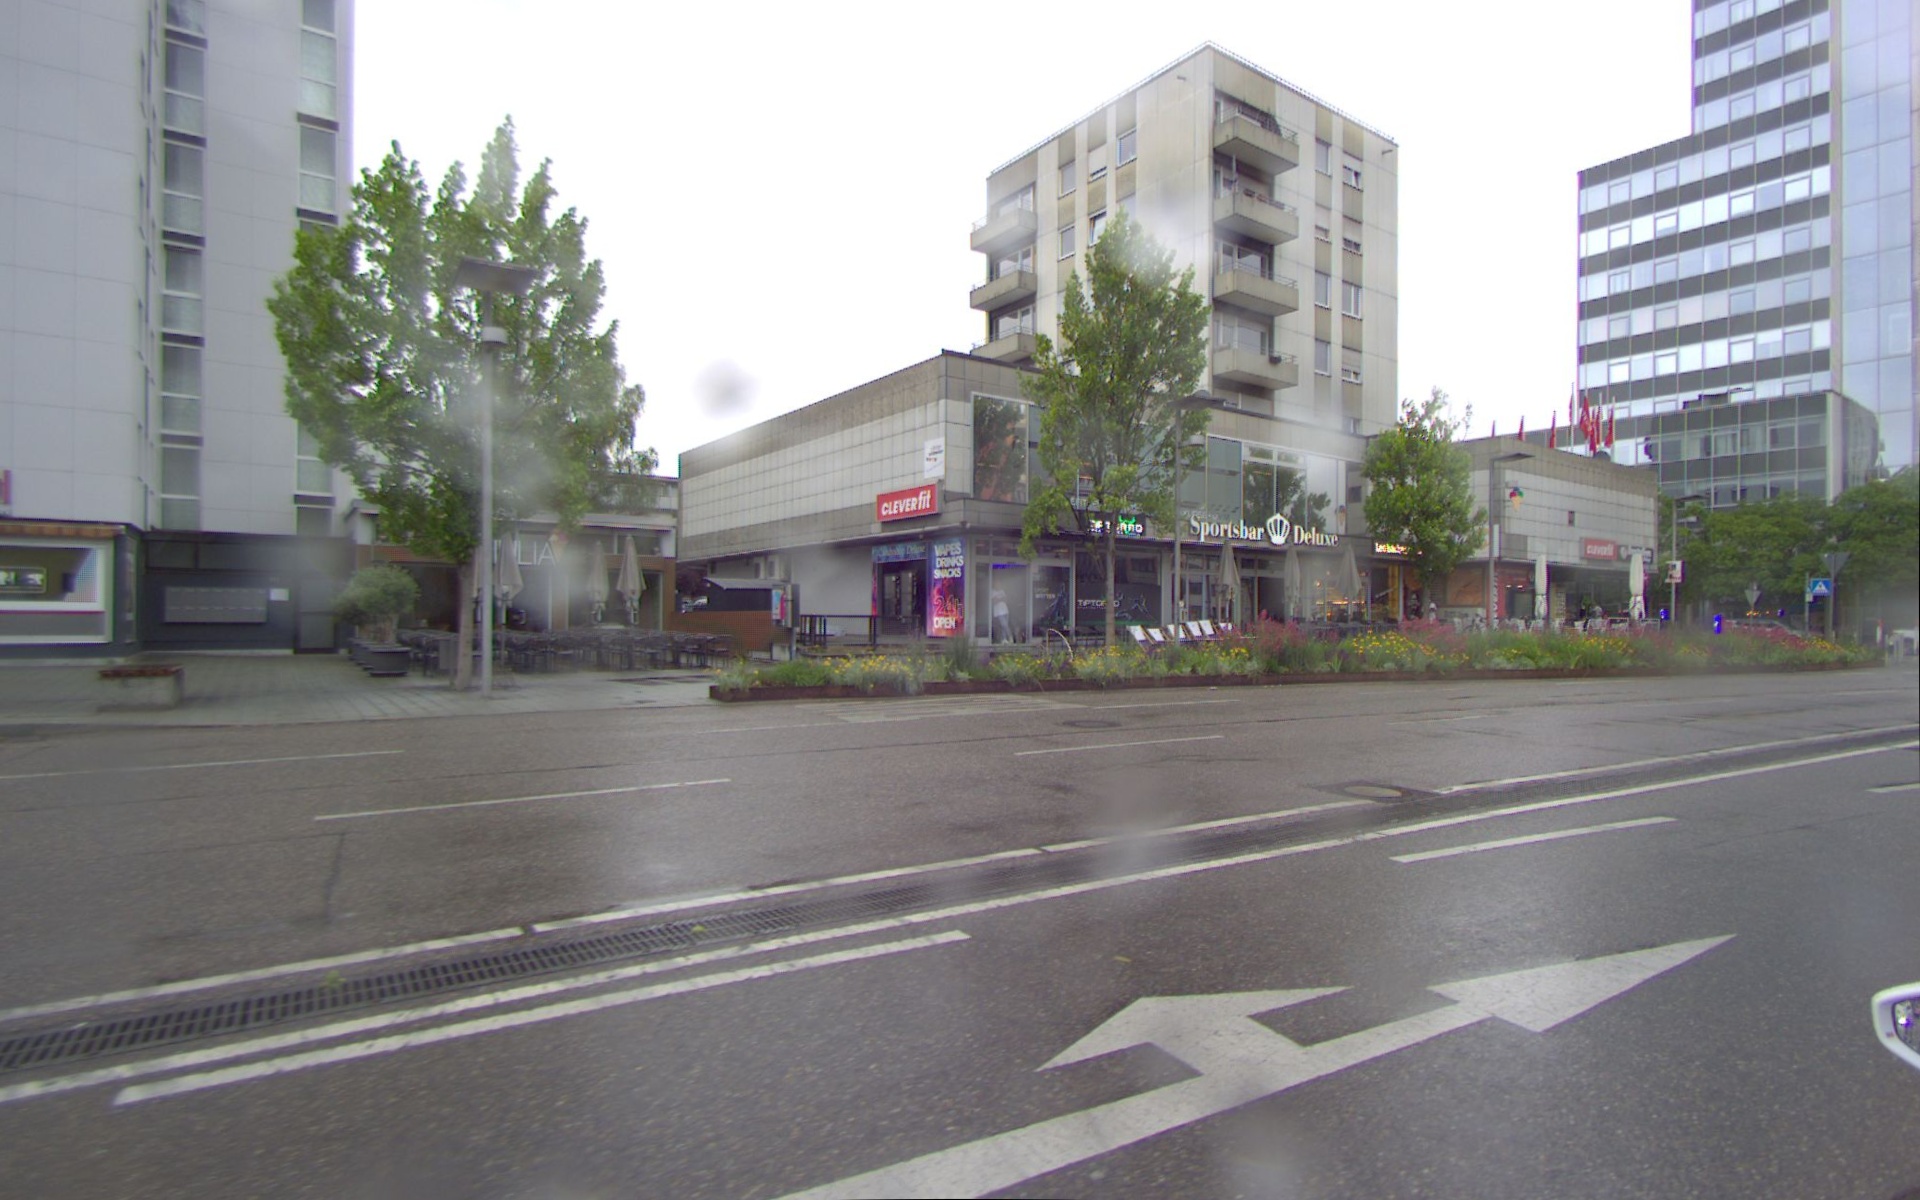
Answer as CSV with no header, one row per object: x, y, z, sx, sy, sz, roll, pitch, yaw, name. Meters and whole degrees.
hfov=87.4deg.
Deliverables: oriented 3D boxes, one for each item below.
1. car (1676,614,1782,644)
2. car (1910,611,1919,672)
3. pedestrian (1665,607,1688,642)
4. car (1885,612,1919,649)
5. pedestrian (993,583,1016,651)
40.341,1.504,52.774,1.848,1.439,4.027,1,0,-30,car
25.773,1.036,24.470,4.734,1.480,1.840,1,0,-19,car
28.435,0.960,39.864,0.526,1.365,0.497,1,0,0,pedestrian
44.439,1.404,44.933,1.848,1.616,4.171,1,0,-30,car
1.257,0.471,28.190,0.494,1.873,0.424,1,0,-26,pedestrian
